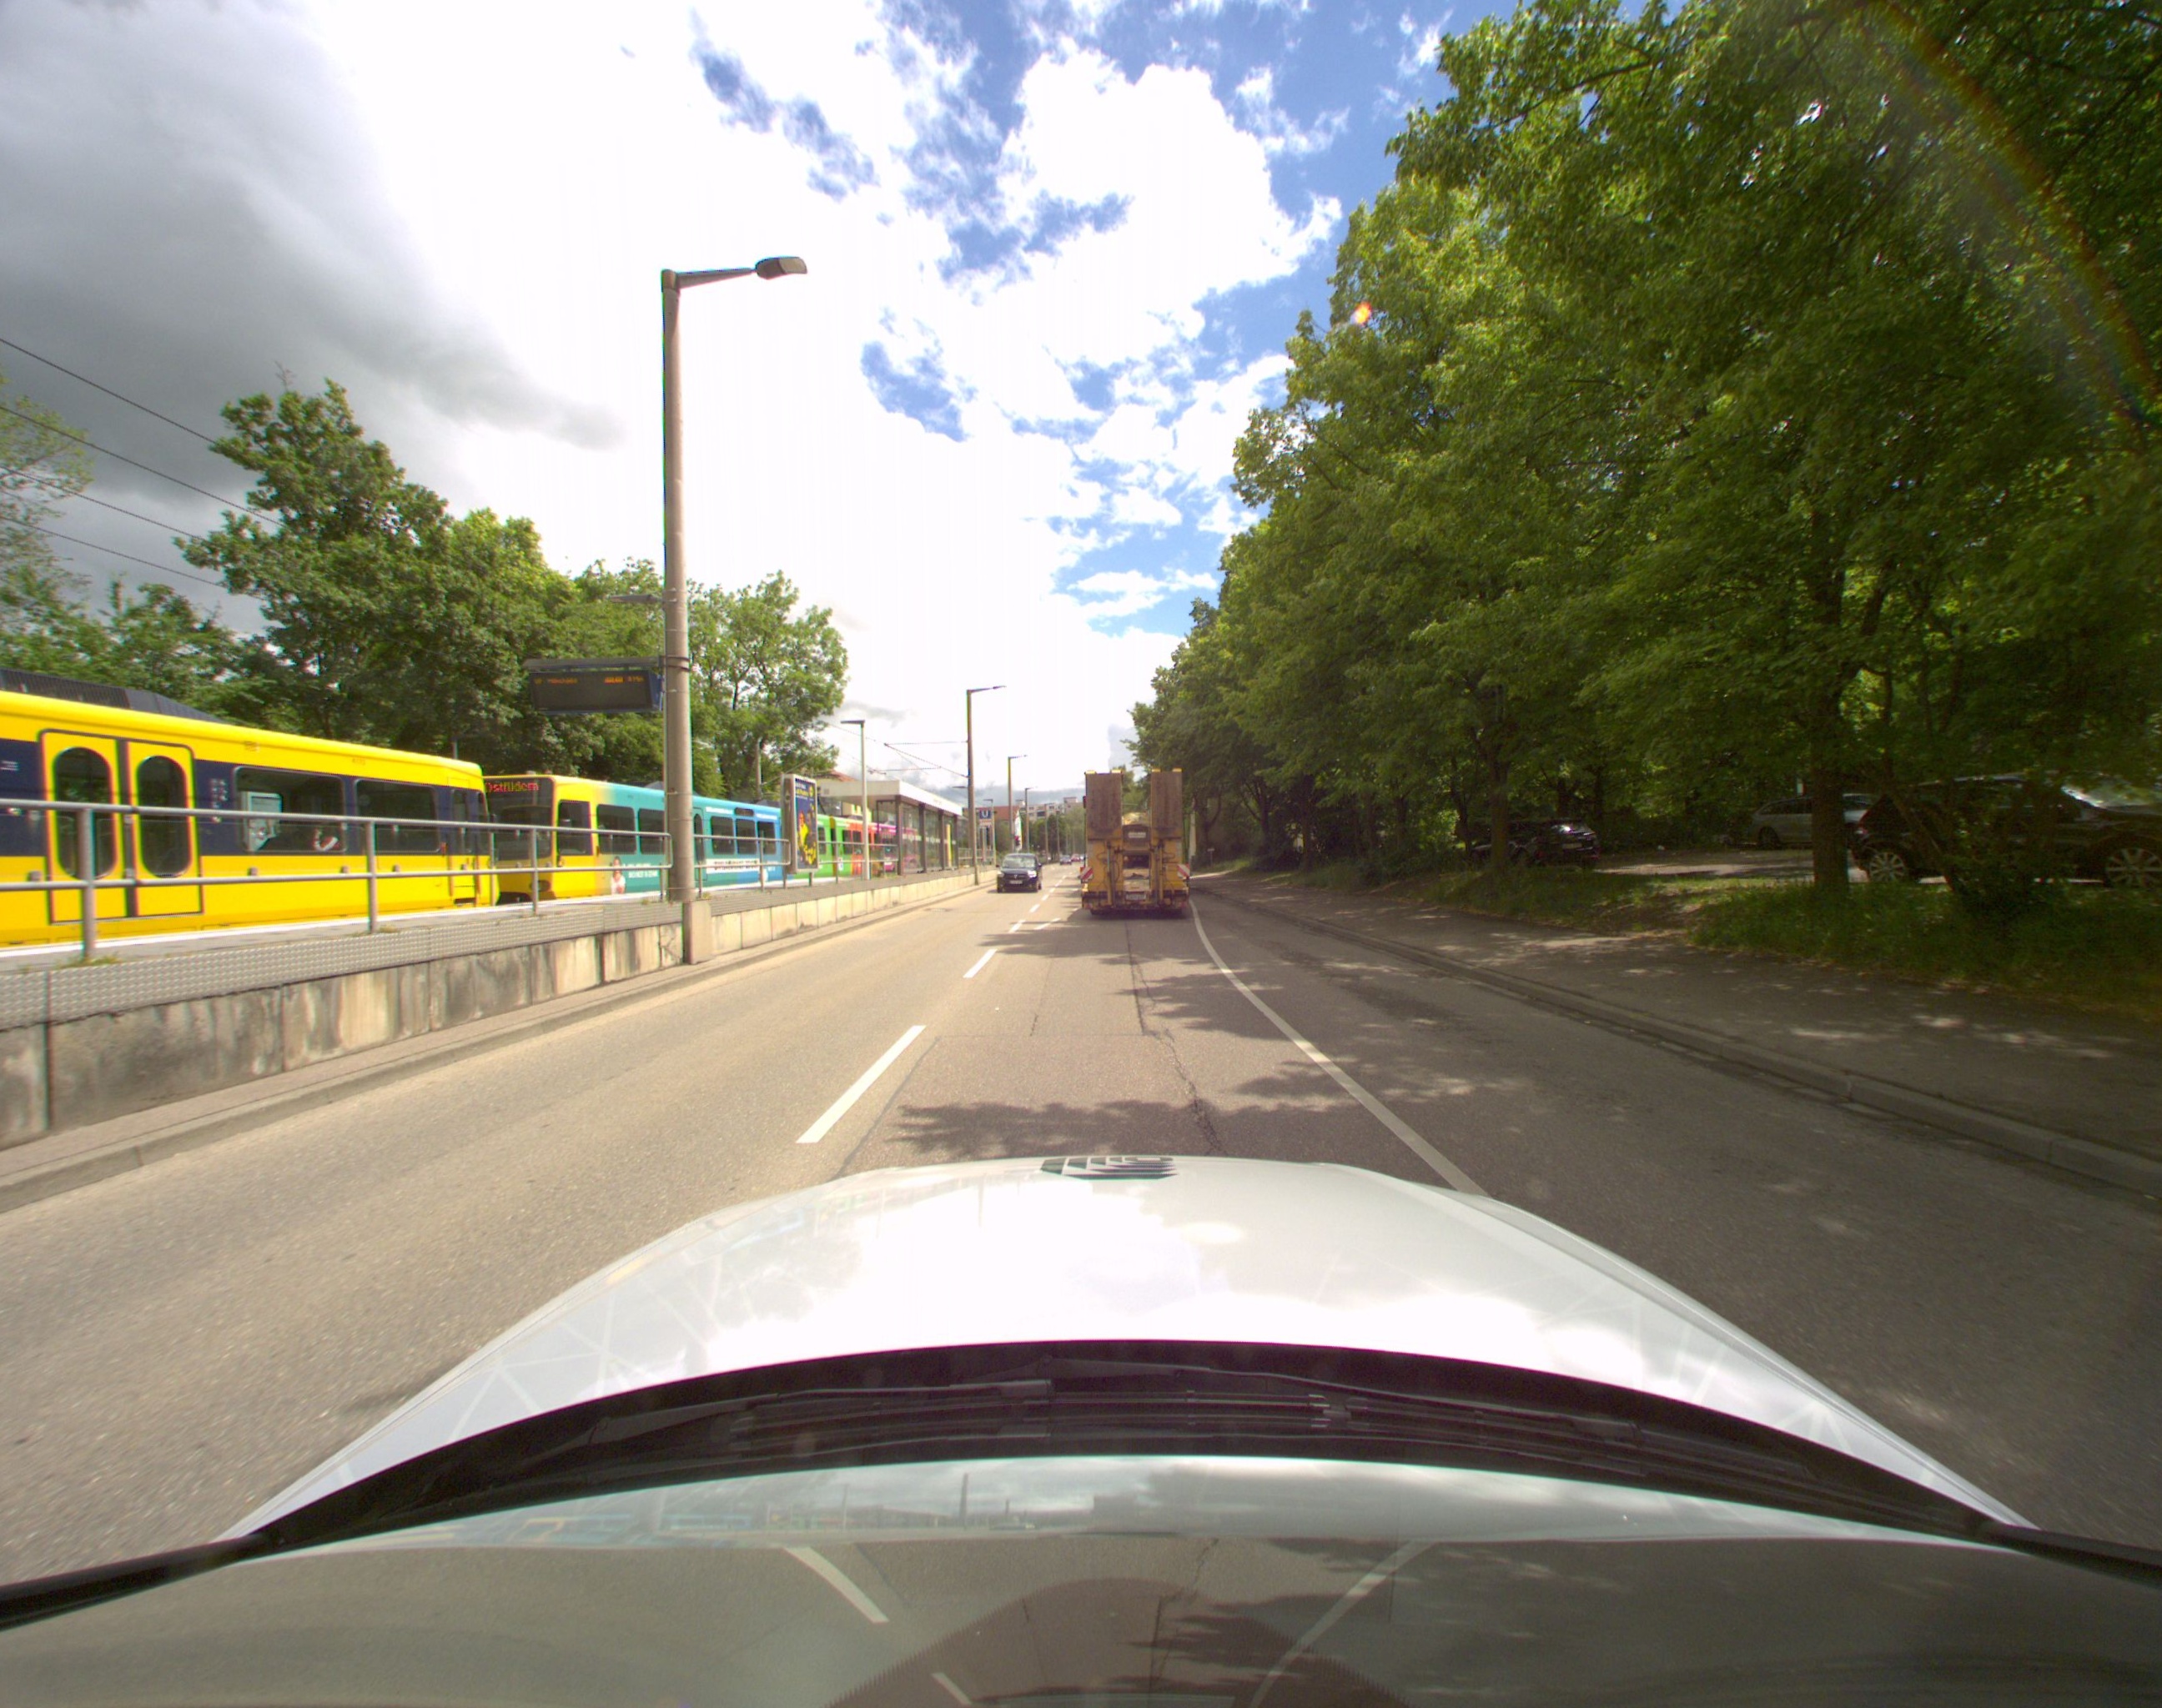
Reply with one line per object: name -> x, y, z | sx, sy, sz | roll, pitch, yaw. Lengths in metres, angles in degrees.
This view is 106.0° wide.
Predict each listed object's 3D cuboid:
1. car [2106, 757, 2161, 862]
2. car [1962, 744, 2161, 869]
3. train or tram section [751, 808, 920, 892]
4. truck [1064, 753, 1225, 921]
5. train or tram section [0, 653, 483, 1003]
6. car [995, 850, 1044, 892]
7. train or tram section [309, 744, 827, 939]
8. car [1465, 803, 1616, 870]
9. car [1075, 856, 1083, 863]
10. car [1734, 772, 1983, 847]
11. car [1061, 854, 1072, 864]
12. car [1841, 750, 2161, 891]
car -> 16.904, -0.753, 10.745 | 1.603, 1.566, 3.988 | -6, -1, 0
car -> 14.437, -0.647, 10.561 | 1.629, 1.566, 3.988 | -4, -1, 0
train or tram section -> -12.040, -0.116, 43.235 | 3.098, 3.465, 19.087 | 0, 0, 0
truck -> 1.312, -0.372, 25.517 | 3.394, 3.732, 13.727 | -2, 0, -2
train or tram section -> -12.256, -0.265, 4.994 | 3.098, 3.465, 18.994 | 0, 0, 0
car -> -2.614, 0.704, 35.302 | 1.715, 1.682, 4.387 | 0, 0, 1
train or tram section -> -12.108, -0.191, 24.085 | 3.098, 3.465, 19.196 | 0, 0, 0
car -> 12.200, -0.407, 21.982 | 1.709, 1.507, 4.160 | -5, -1, 1
car -> -0.482, 1.175, 181.605 | 1.662, 1.453, 3.678 | 0, -1, 0
car -> 20.172, -1.065, 21.526 | 1.985, 1.507, 4.884 | -5, -1, 3
car -> -2.146, 0.815, 121.166 | 1.662, 1.453, 3.678 | 0, -1, 0
car -> 12.076, -0.391, 9.945 | 1.791, 1.464, 3.988 | -4, -1, 0
